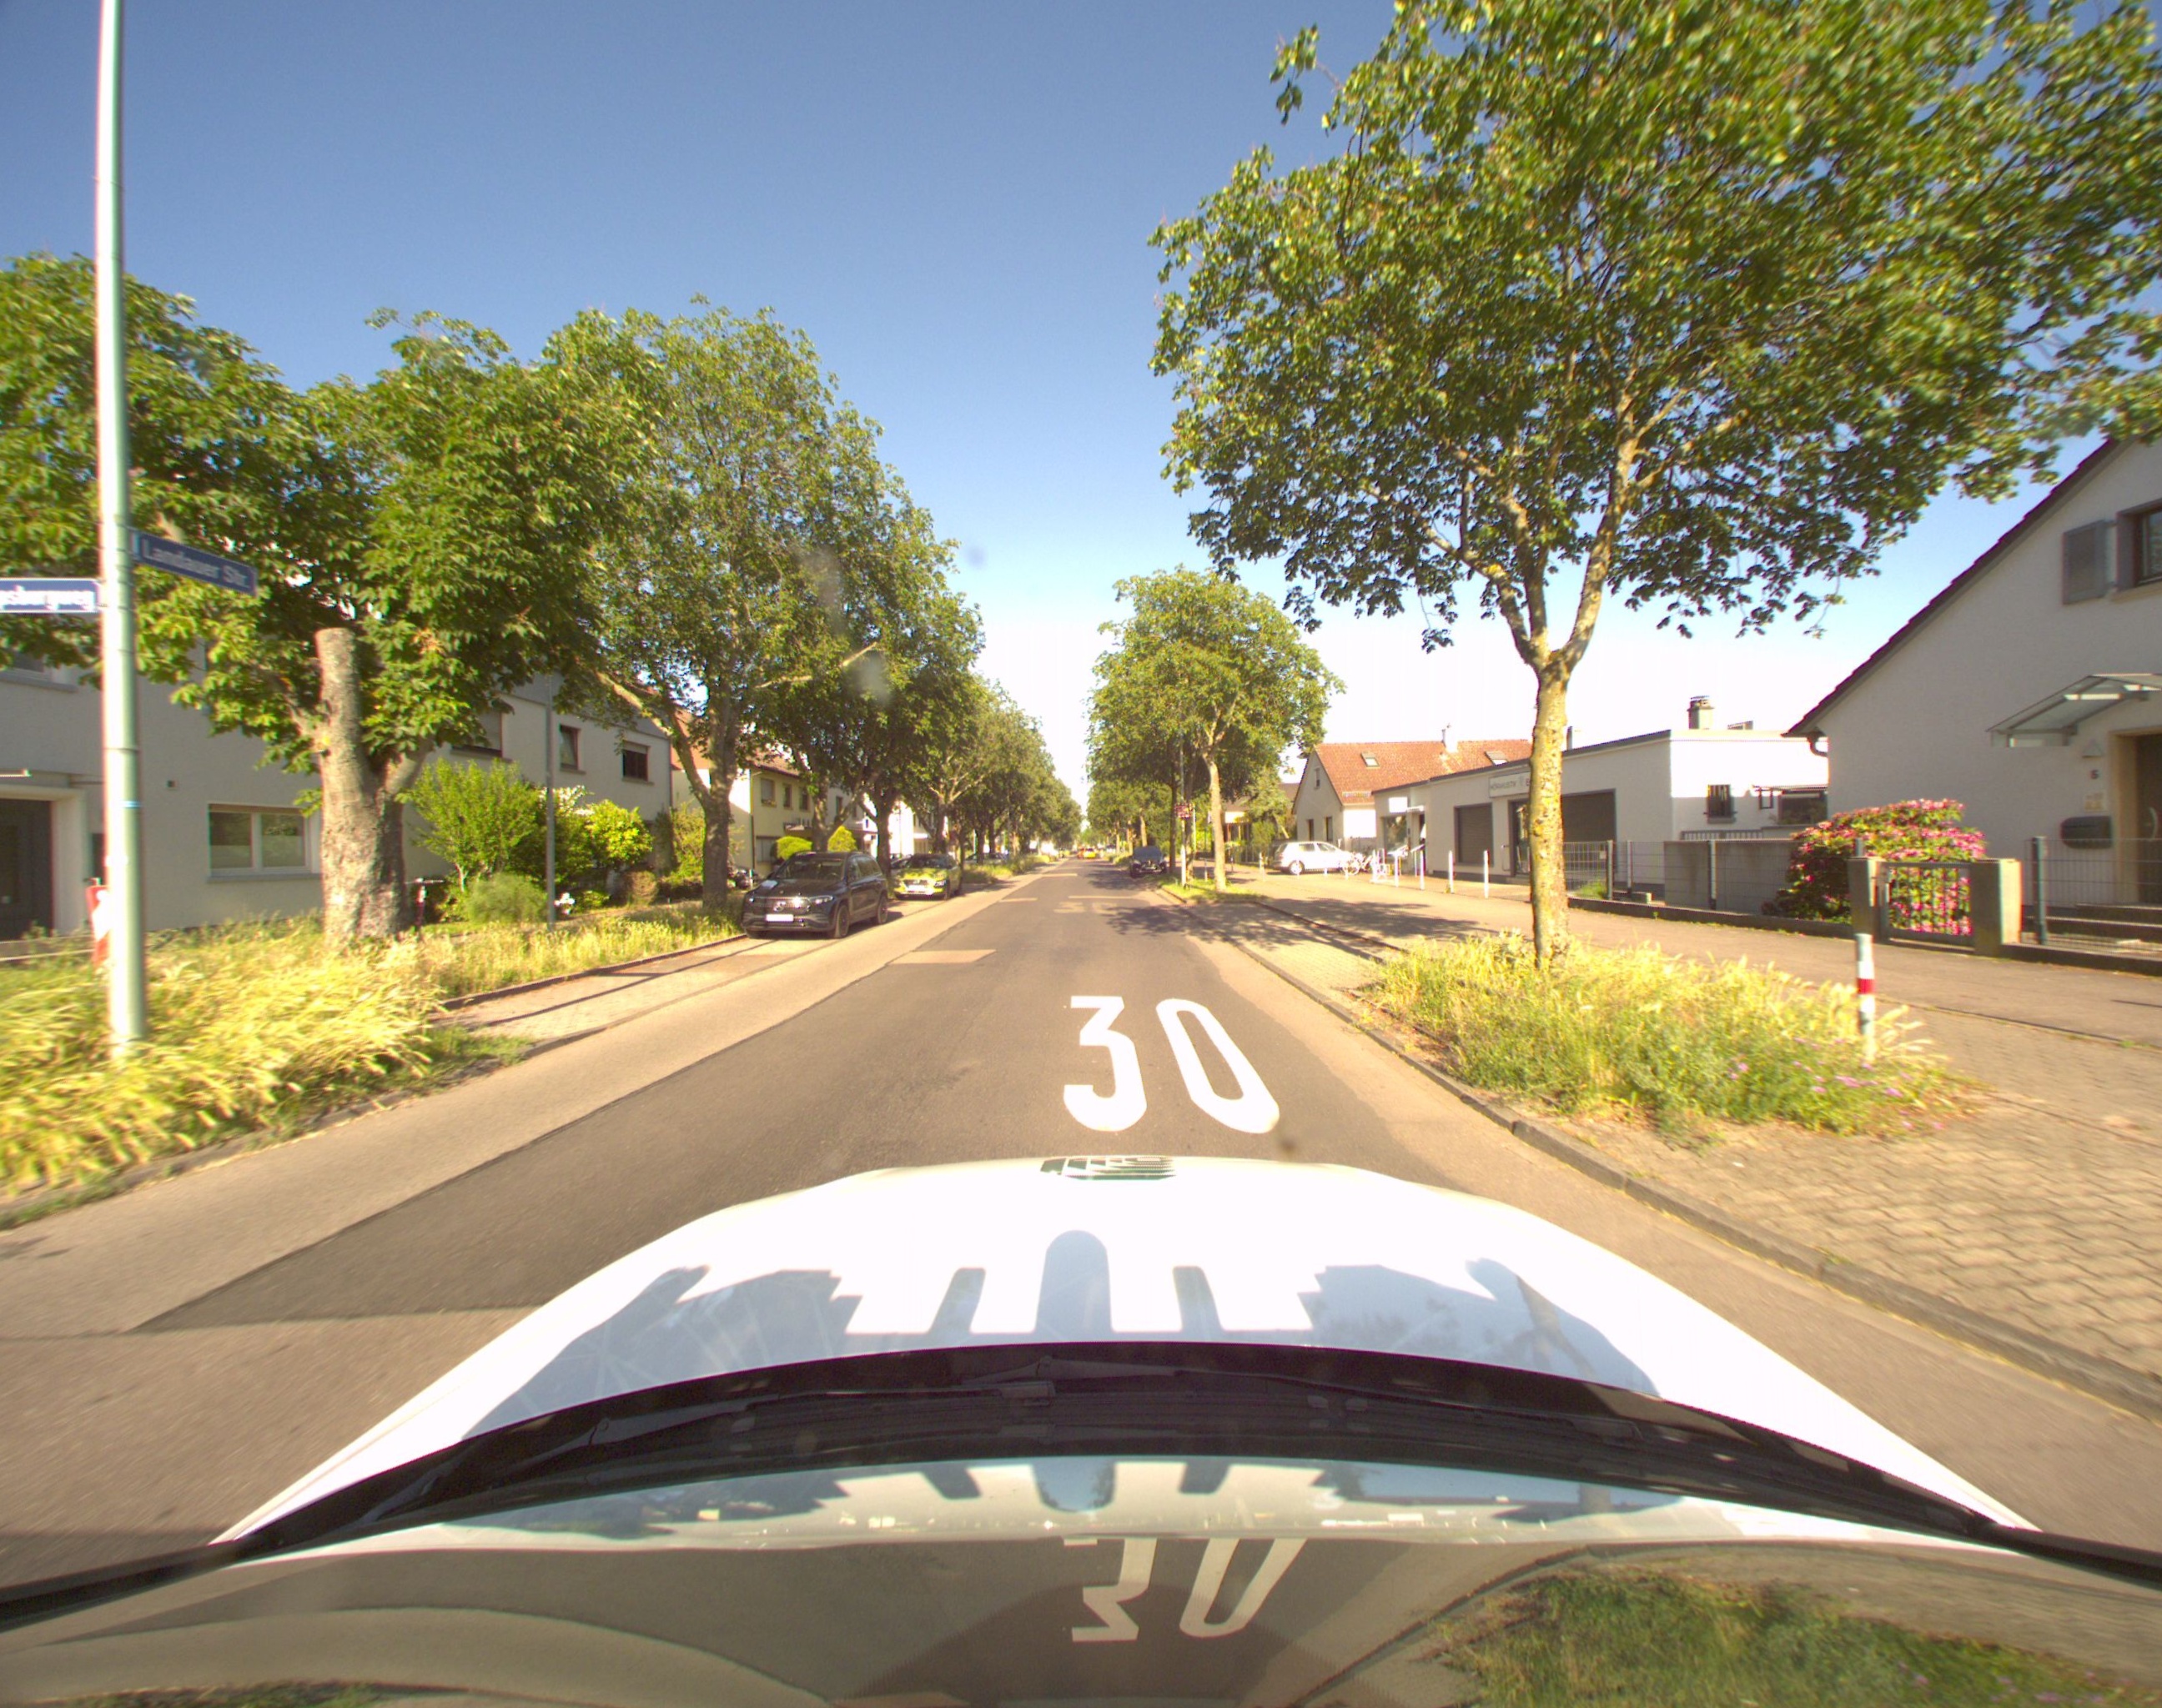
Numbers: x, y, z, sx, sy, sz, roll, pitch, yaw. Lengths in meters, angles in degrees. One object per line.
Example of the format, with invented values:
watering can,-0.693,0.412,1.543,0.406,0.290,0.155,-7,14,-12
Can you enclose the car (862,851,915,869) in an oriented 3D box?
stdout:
car,-18.312,0.531,77.652,4.545,1.617,1.998,0,2,-4

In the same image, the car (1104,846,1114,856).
car,5.402,-0.540,155.928,1.896,1.774,4.302,0,0,1

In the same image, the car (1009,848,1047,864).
car,-6.378,0.229,98.565,4.537,1.765,1.997,0,2,-5

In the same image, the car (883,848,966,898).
car,-5.345,0.617,28.374,1.932,1.608,4.385,0,0,1

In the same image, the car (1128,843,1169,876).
car,3.641,0.267,44.498,1.847,1.625,4.469,-3,0,0

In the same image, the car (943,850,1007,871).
car,-7.938,0.496,61.060,4.539,1.511,1.841,0,2,0

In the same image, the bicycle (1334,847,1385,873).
bicycle,11.673,0.247,34.204,1.918,0.998,0.576,-3,2,-2

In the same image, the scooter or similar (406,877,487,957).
scooter or similar,-8.666,0.840,11.155,0.334,1.001,0.996,-2,1,-3

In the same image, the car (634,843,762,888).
car,-15.528,0.444,33.227,4.227,1.713,1.997,0,2,-5

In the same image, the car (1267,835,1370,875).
car,10.523,0.007,36.313,3.975,1.488,1.901,-3,2,-1

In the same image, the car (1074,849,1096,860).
car,0.595,0.036,114.611,1.894,1.479,3.863,1,0,-19

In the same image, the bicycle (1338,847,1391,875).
bicycle,11.543,0.282,33.214,1.952,0.998,0.576,-3,2,-2

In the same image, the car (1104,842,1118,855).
car,4.361,-0.811,117.559,1.896,1.774,4.302,0,0,1

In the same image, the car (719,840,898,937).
car,-5.375,0.628,16.874,1.946,1.726,4.876,0,0,2

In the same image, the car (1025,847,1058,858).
car,-5.108,-0.160,105.181,4.279,1.315,1.906,0,2,-5

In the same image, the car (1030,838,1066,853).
car,-5.158,-1.291,126.533,5.483,2.247,2.516,0,2,-2
